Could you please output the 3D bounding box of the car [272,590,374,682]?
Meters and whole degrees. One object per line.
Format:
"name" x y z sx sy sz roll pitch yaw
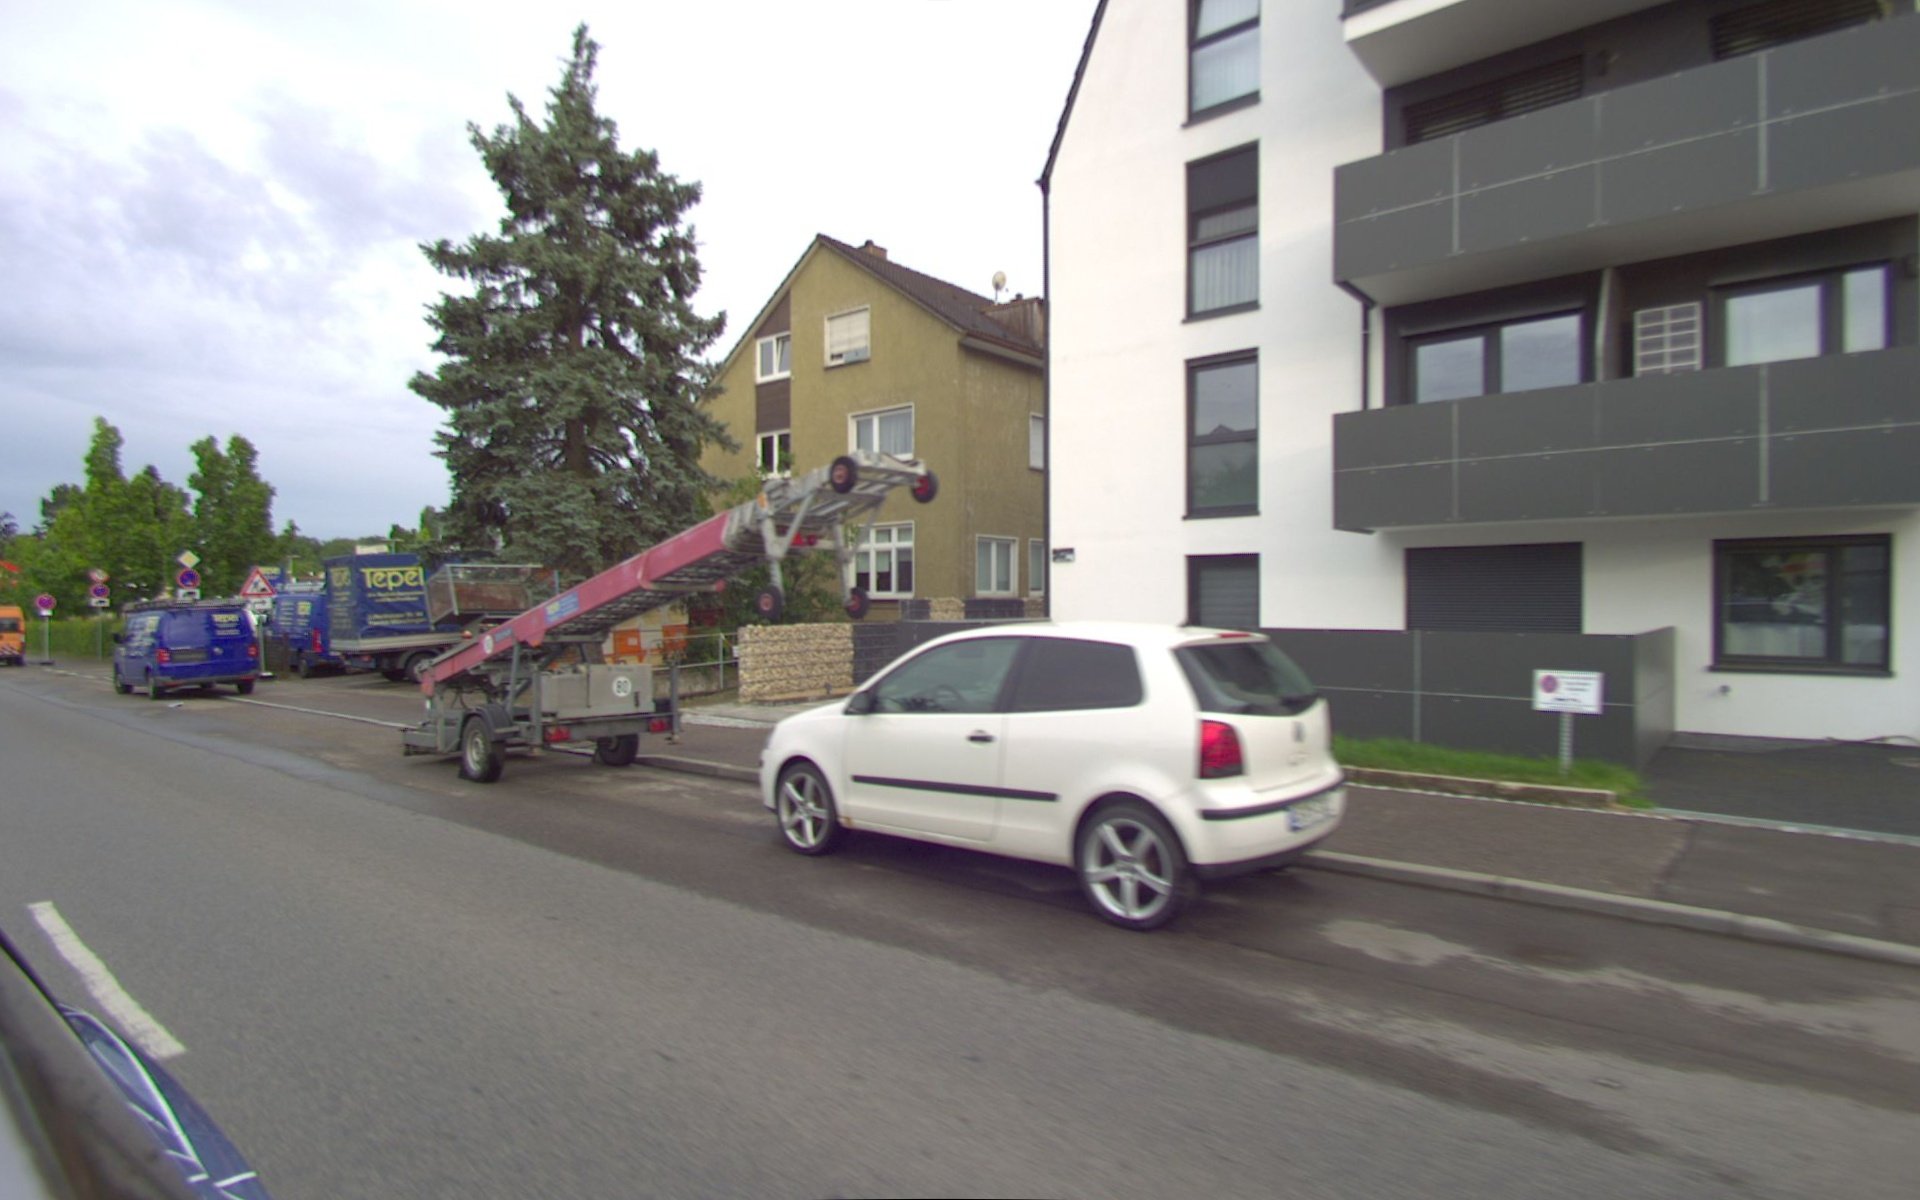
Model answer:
"car" -17.968 0.983 28.503 3.594 2.425 1.549 -2 -2 42

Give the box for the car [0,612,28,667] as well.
"car" -41.899 1.680 43.408 4.528 2.306 2.235 -2 -4 41

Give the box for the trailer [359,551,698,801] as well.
"trailer" -4.657 0.665 10.656 4.005 2.142 1.699 -1 0 41

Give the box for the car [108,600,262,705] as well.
"car" -17.738 1.136 23.083 4.753 2.140 1.972 -2 -2 42

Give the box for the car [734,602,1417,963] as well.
"car" 0.486 0.814 6.191 3.869 1.516 1.717 -2 -2 41

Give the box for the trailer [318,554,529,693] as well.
"trailer" -12.955 0.500 24.601 2.167 3.069 4.007 -1 0 41
